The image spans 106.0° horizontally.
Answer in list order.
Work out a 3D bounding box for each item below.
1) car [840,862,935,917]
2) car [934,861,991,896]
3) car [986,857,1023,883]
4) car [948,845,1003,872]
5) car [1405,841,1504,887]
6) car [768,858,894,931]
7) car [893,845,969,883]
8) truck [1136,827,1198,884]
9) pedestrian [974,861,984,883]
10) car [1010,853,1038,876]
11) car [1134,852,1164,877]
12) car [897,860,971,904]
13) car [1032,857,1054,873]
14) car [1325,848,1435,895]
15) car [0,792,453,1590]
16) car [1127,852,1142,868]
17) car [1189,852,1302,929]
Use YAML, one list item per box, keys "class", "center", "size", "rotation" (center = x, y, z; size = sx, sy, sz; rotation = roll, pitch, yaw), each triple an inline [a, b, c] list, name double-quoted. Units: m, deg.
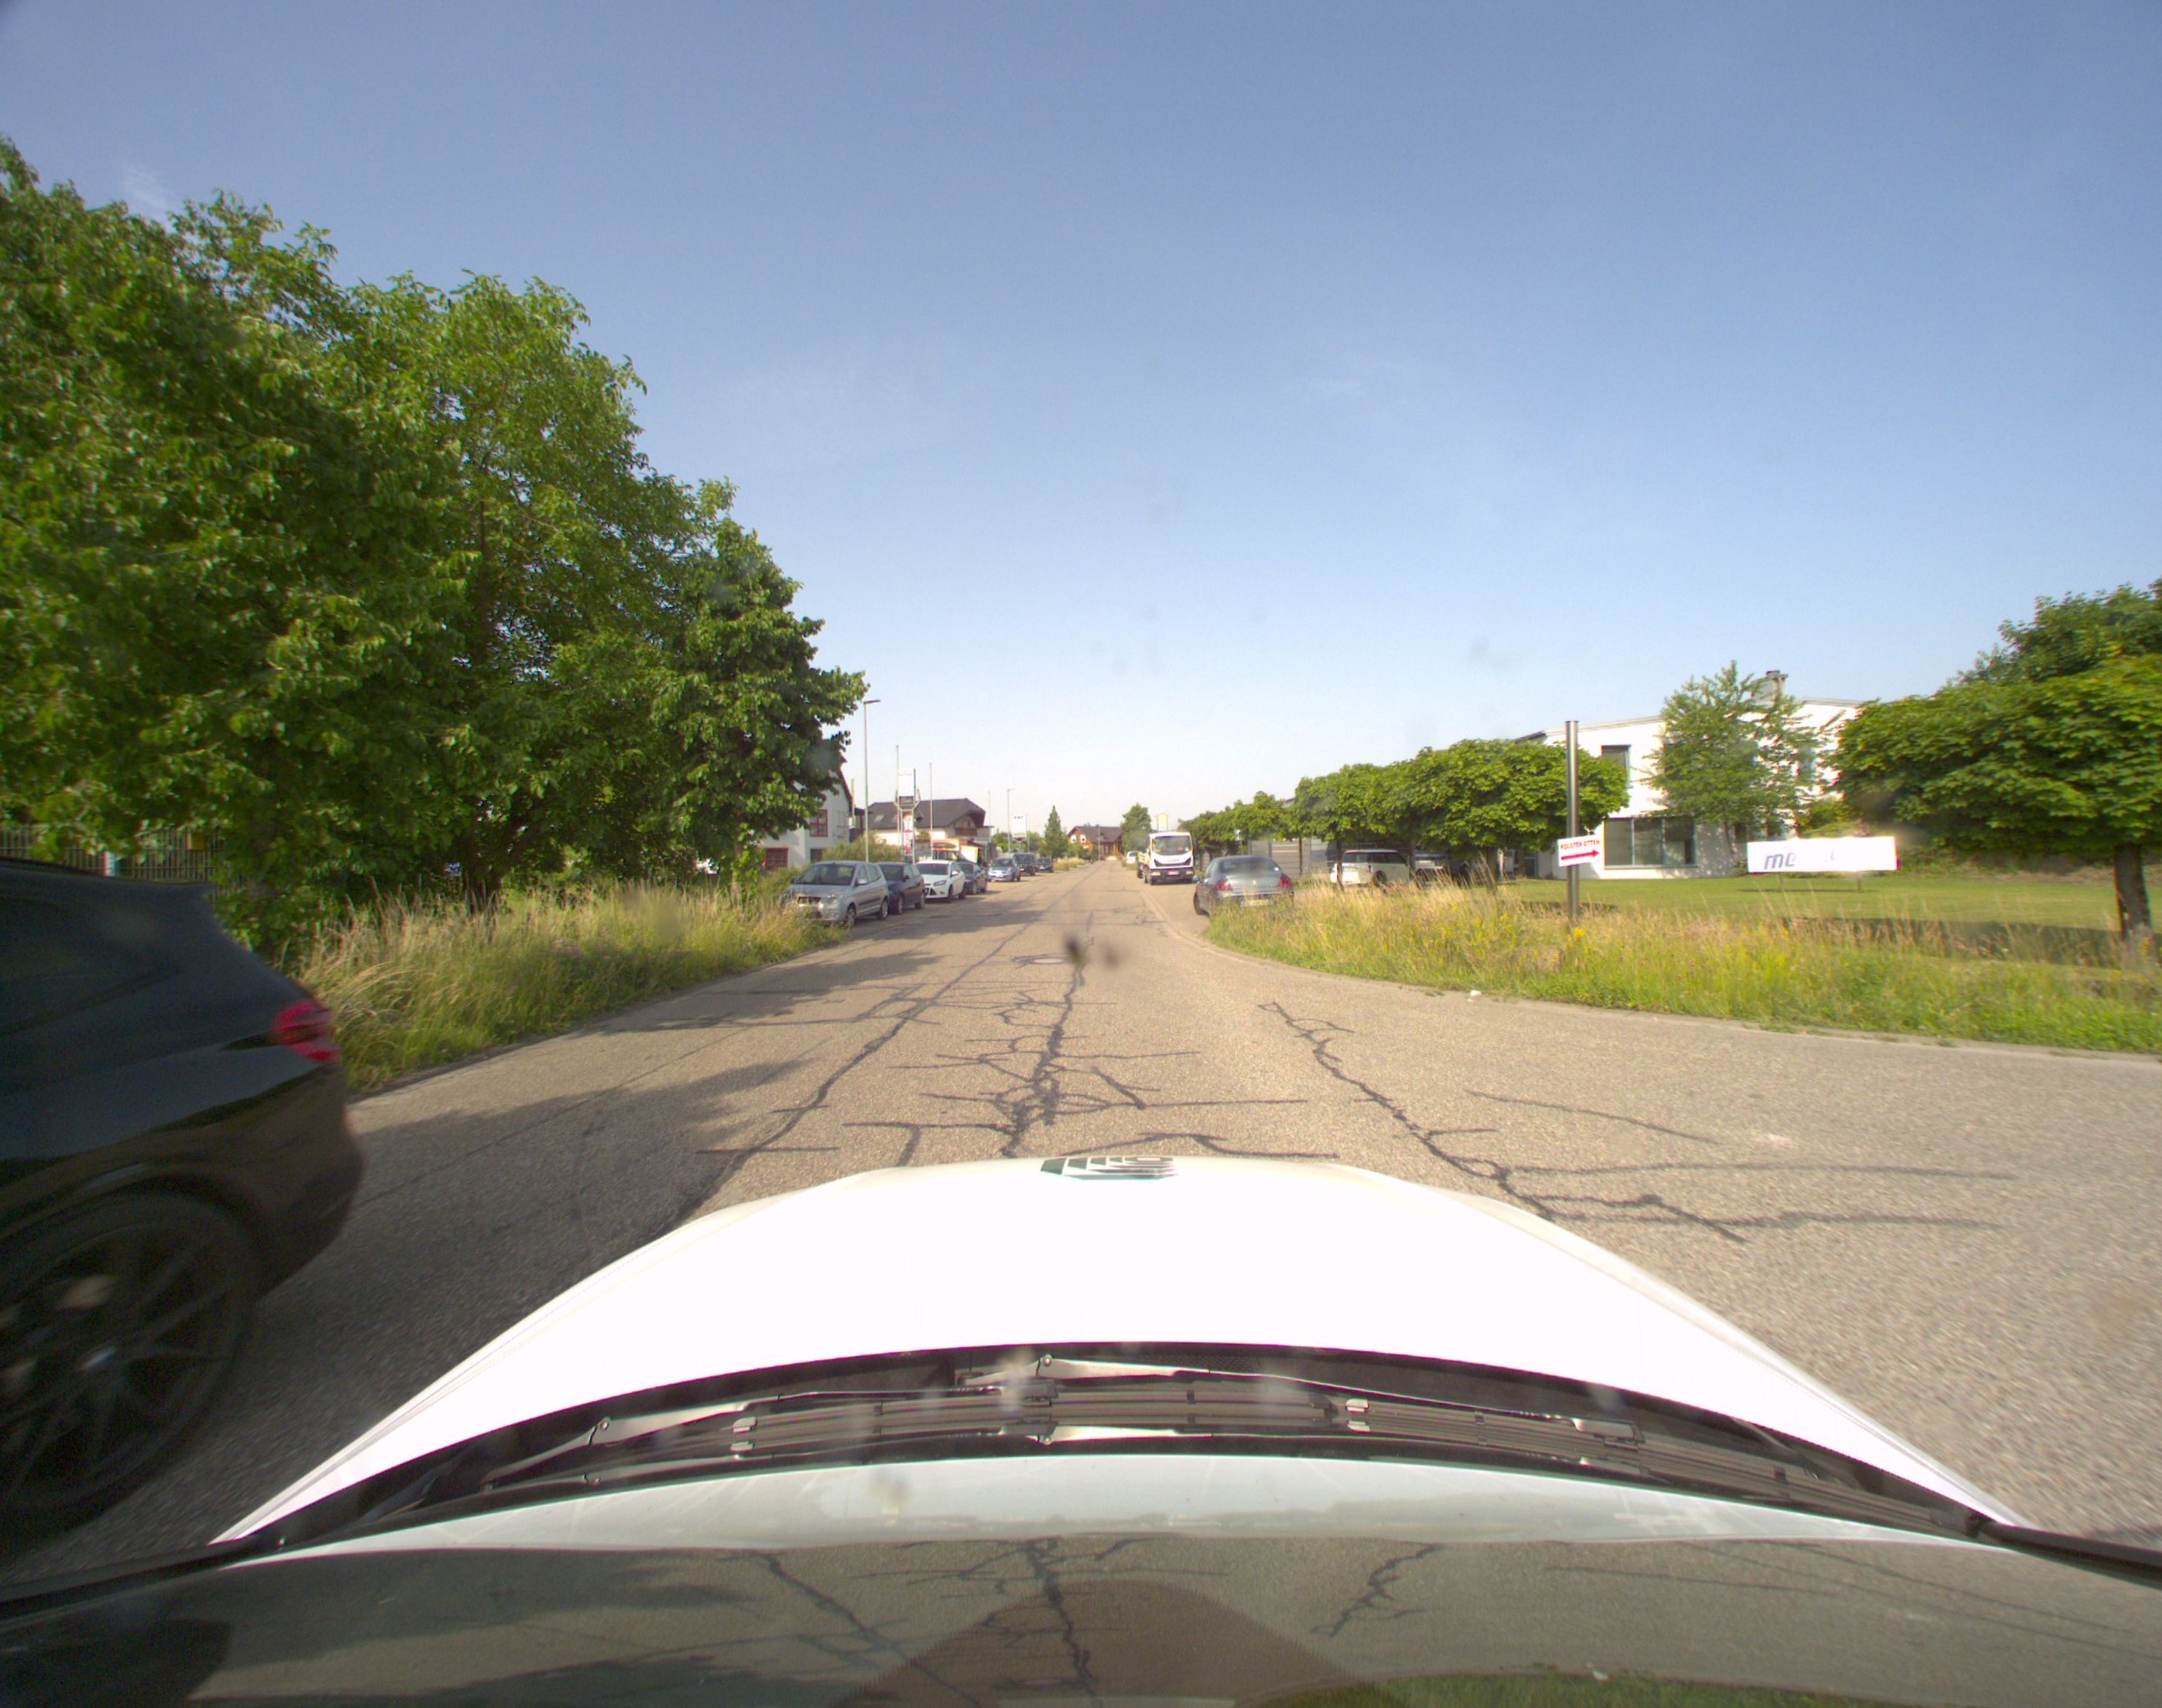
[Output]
- class: "car"
  center: [-5.592, 0.984, 23.959]
  size: [1.571, 1.443, 3.967]
  rotation: [0, 0, 4]
- class: "car"
  center: [-5.062, 1.005, 35.283]
  size: [1.627, 1.387, 4.371]
  rotation: [0, 0, 2]
- class: "car"
  center: [-4.766, 0.978, 51.209]
  size: [1.625, 1.517, 3.610]
  rotation: [0, 0, 5]
- class: "car"
  center: [-11.167, 0.465, 86.209]
  size: [5.111, 2.586, 2.591]
  rotation: [-2, 0, 23]
- class: "car"
  center: [13.869, 0.343, 30.128]
  size: [4.558, 1.589, 1.667]
  rotation: [0, -1, -42]
- class: "car"
  center: [-5.798, 0.880, 19.314]
  size: [1.559, 1.538, 3.693]
  rotation: [0, 0, 5]
- class: "car"
  center: [-10.043, 0.685, 54.793]
  size: [4.605, 2.416, 2.002]
  rotation: [-1, 0, 4]
- class: "truck"
  center: [4.349, 0.072, 42.296]
  size: [2.352, 2.682, 6.507]
  rotation: [-1, 0, -1]
- class: "pedestrian"
  center: [-7.819, 1.373, 62.333]
  size: [0.566, 1.715, 0.528]
  rotation: [-1, 0, -36]
- class: "car"
  center: [-4.546, 0.839, 65.235]
  size: [1.793, 1.774, 4.204]
  rotation: [0, 0, 2]
- class: "car"
  center: [4.459, 0.705, 54.058]
  size: [1.788, 1.560, 4.002]
  rotation: [-1, 0, 2]
- class: "car"
  center: [-5.195, 0.947, 29.303]
  size: [1.677, 1.469, 4.256]
  rotation: [0, 0, 2]
- class: "car"
  center: [-3.620, 1.037, 77.896]
  size: [1.793, 1.386, 3.639]
  rotation: [0, 0, 2]
- class: "car"
  center: [9.947, 0.541, 27.013]
  size: [3.715, 1.380, 1.668]
  rotation: [-2, 0, -38]
- class: "car"
  center: [-3.297, 0.762, 0.861]
  size: [1.849, 1.715, 4.227]
  rotation: [-3, 0, 1]
- class: "car"
  center: [6.800, 0.711, 104.317]
  size: [1.830, 1.924, 3.758]
  rotation: [-2, 0, 3]
- class: "car"
  center: [3.596, 0.731, 18.559]
  size: [1.787, 1.517, 4.426]
  rotation: [-1, 0, 2]
